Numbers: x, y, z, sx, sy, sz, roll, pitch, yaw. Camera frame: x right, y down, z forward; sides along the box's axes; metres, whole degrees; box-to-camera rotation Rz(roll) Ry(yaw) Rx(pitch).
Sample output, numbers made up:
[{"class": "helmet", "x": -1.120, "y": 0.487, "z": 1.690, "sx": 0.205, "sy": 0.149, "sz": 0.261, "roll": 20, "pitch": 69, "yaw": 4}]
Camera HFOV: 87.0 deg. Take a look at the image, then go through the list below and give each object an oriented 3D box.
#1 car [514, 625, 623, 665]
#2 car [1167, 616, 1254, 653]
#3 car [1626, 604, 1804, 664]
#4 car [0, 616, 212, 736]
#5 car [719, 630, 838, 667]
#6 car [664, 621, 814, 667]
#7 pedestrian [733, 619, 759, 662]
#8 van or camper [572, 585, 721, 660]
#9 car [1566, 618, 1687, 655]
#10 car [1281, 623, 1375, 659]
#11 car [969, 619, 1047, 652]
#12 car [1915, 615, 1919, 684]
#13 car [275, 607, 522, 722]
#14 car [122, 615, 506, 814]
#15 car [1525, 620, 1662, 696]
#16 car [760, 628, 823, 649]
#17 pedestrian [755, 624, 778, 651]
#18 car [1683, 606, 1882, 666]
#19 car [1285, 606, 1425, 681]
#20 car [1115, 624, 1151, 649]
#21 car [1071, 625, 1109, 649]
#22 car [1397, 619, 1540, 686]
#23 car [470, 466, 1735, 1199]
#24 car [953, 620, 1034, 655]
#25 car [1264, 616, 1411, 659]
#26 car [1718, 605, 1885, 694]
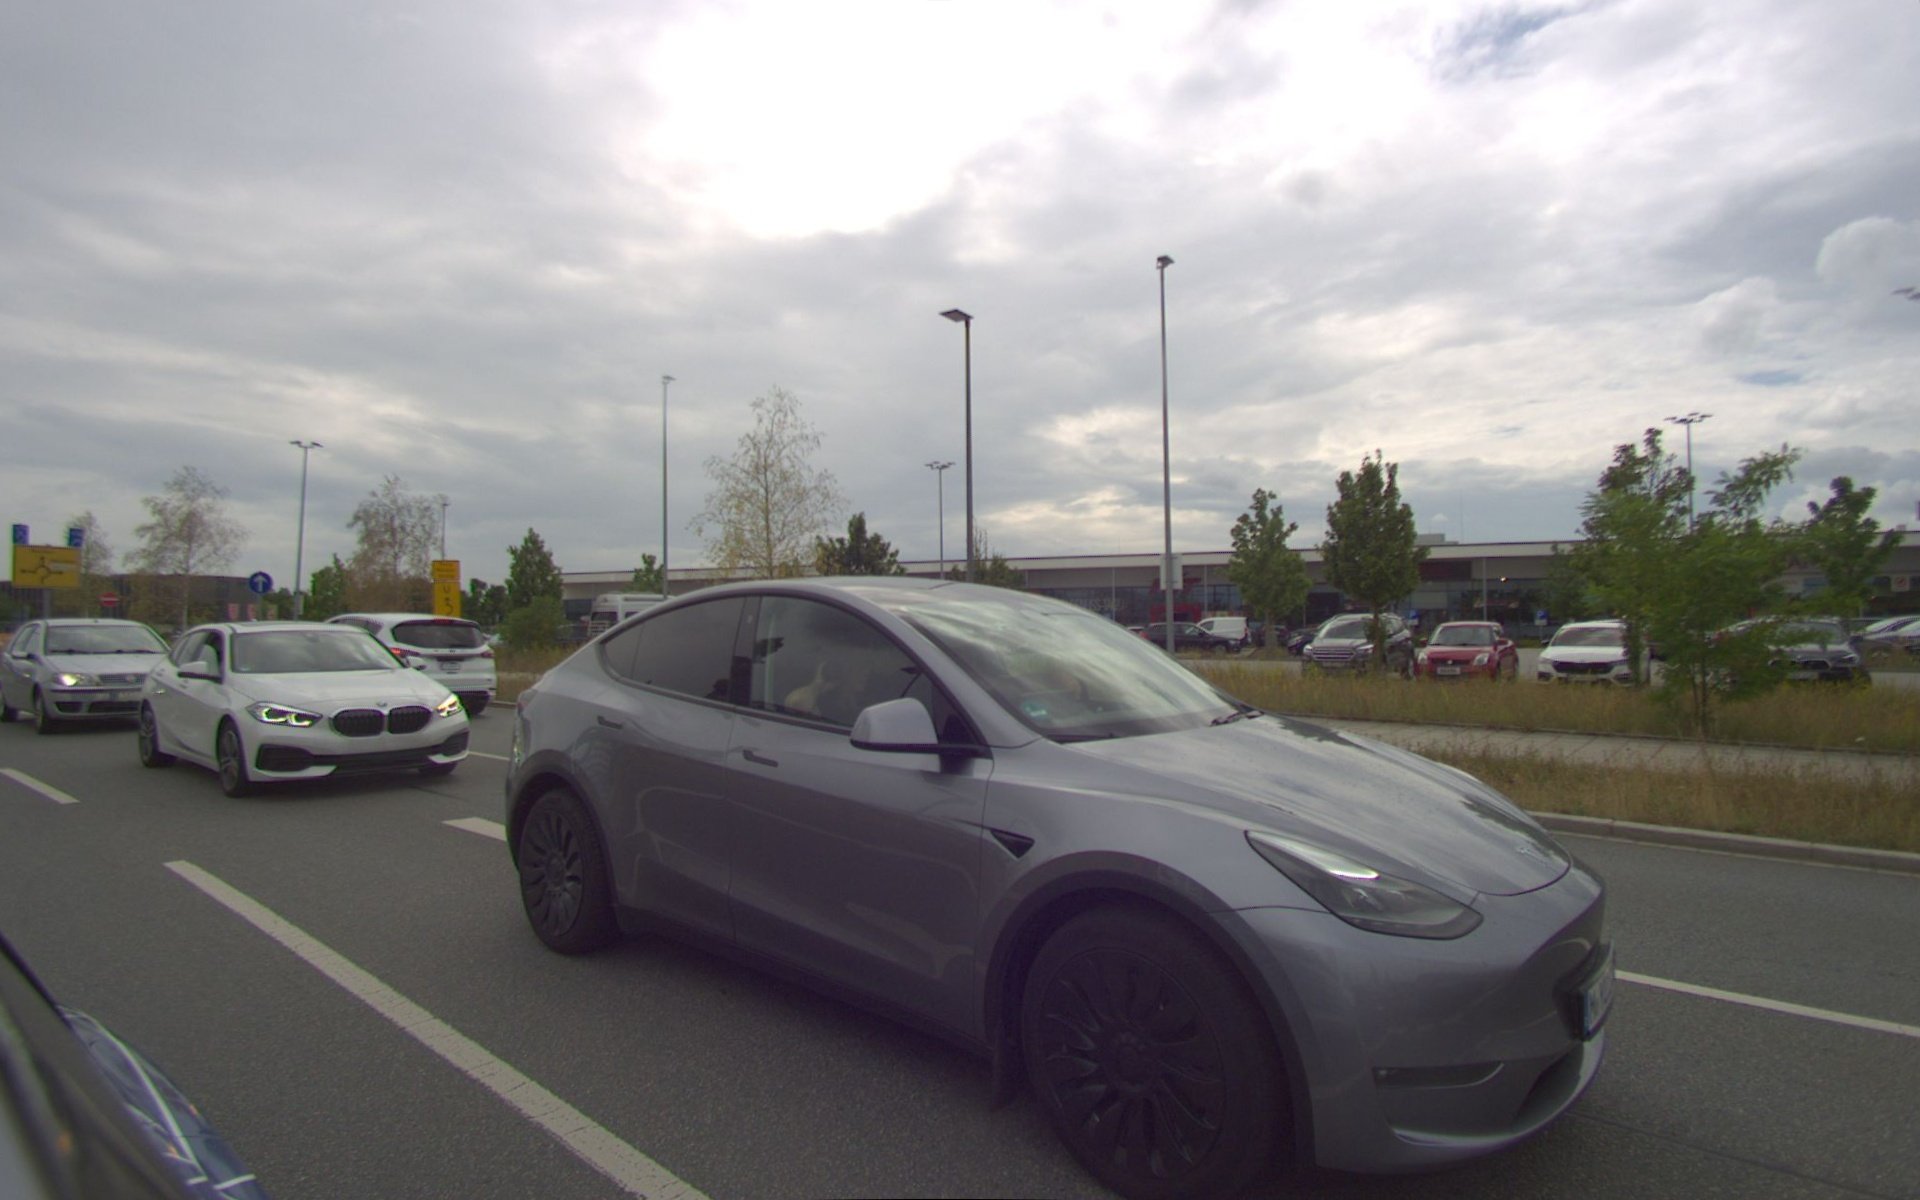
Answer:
[{"class": "car", "x": -16.748, "y": 1.906, "z": 43.407, "sx": 2.078, "sy": 1.646, "sz": 3.913, "roll": -2, "pitch": -2, "yaw": 32}, {"class": "car", "x": 13.152, "y": 1.810, "z": 53.092, "sx": 4.271, "sy": 1.888, "sz": 2.231, "roll": -1, "pitch": -2, "yaw": 19}, {"class": "car", "x": 25.404, "y": 1.164, "z": 34.218, "sx": 4.402, "sy": 1.936, "sz": 1.831, "roll": -1, "pitch": -2, "yaw": 13}, {"class": "car", "x": -12.198, "y": 0.988, "z": 14.185, "sx": 4.026, "sy": 1.449, "sz": 1.686, "roll": -2, "pitch": -2, "yaw": 37}, {"class": "car", "x": -6.718, "y": 1.779, "z": 37.861, "sx": 2.006, "sy": 1.314, "sz": 4.288, "roll": -2, "pitch": -2, "yaw": 34}, {"class": "car", "x": -6.561, "y": 1.296, "z": 30.324, "sx": 2.010, "sy": 1.269, "sz": 4.039, "roll": -2, "pitch": -2, "yaw": 40}, {"class": "pedestrian", "x": -9.582, "y": 1.810, "z": 45.347, "sx": 1.095, "sy": 1.904, "sz": 1.013, "roll": 0, "pitch": -2, "yaw": -14}, {"class": "van or camper", "x": -12.607, "y": 0.915, "z": 41.182, "sx": 2.235, "sy": 2.821, "sz": 5.810, "roll": -1, "pitch": -2, "yaw": 30}, {"class": "car", "x": 29.122, "y": 1.601, "z": 44.372, "sx": 3.968, "sy": 1.557, "sz": 1.987, "roll": -1, "pitch": -2, "yaw": 19}, {"class": "car", "x": 17.399, "y": 1.941, "z": 48.043, "sx": 3.962, "sy": 1.697, "sz": 1.830, "roll": -1, "pitch": -2, "yaw": 15}, {"class": "car", "x": 2.691, "y": 1.973, "z": 56.615, "sx": 3.968, "sy": 1.785, "sz": 1.874, "roll": -1, "pitch": -2, "yaw": 19}, {"class": "car", "x": 18.462, "y": 0.916, "z": 17.673, "sx": 2.023, "sy": 1.350, "sz": 4.274, "roll": -2, "pitch": -2, "yaw": 36}, {"class": "car", "x": -9.385, "y": 1.015, "z": 16.762, "sx": 4.698, "sy": 1.649, "sz": 1.973, "roll": -1, "pitch": -4, "yaw": 40}, {"class": "car", "x": -6.234, "y": 0.891, "z": 9.588, "sx": 4.189, "sy": 1.480, "sz": 1.861, "roll": -1, "pitch": -2, "yaw": 39}, {"class": "car", "x": 13.639, "y": 1.174, "z": 21.681, "sx": 2.008, "sy": 1.468, "sz": 4.277, "roll": -2, "pitch": -2, "yaw": 38}, {"class": "car", "x": -11.946, "y": 2.703, "z": 71.749, "sx": 3.978, "sy": 1.453, "sz": 1.983, "roll": -1, "pitch": -2, "yaw": 26}, {"class": "pedestrian", "x": -11.767, "y": 2.288, "z": 61.564, "sx": 1.240, "sy": 1.619, "sz": 0.890, "roll": 0, "pitch": -2, "yaw": 1}, {"class": "car", "x": 23.614, "y": 1.044, "z": 29.255, "sx": 3.969, "sy": 1.619, "sz": 1.987, "roll": -1, "pitch": -2, "yaw": 20}, {"class": "car", "x": 9.805, "y": 1.046, "z": 24.944, "sx": 2.077, "sy": 1.667, "sz": 4.260, "roll": -2, "pitch": -2, "yaw": 38}, {"class": "car", "x": 11.017, "y": 2.310, "z": 64.208, "sx": 1.985, "sy": 1.493, "sz": 4.034, "roll": -1, "pitch": -2, "yaw": 14}, {"class": "car", "x": 8.403, "y": 2.347, "z": 65.056, "sx": 1.985, "sy": 1.493, "sz": 4.034, "roll": -1, "pitch": -2, "yaw": 14}, {"class": "car", "x": 11.795, "y": 1.158, "z": 23.344, "sx": 1.999, "sy": 1.402, "sz": 4.042, "roll": -2, "pitch": -2, "yaw": 41}, {"class": "car", "x": 0.084, "y": 0.627, "z": 3.996, "sx": 4.610, "sy": 1.573, "sz": 1.973, "roll": -2, "pitch": -2, "yaw": 41}, {"class": "car", "x": 1.792, "y": 1.950, "z": 53.898, "sx": 3.972, "sy": 1.785, "sz": 1.766, "roll": 0, "pitch": -1, "yaw": 22}, {"class": "car", "x": 14.173, "y": 1.382, "z": 38.051, "sx": 5.075, "sy": 1.530, "sz": 1.983, "roll": -1, "pitch": -2, "yaw": 25}, {"class": "car", "x": 16.289, "y": 0.913, "z": 19.672, "sx": 2.238, "sy": 1.517, "sz": 4.321, "roll": -2, "pitch": -2, "yaw": 40}]
